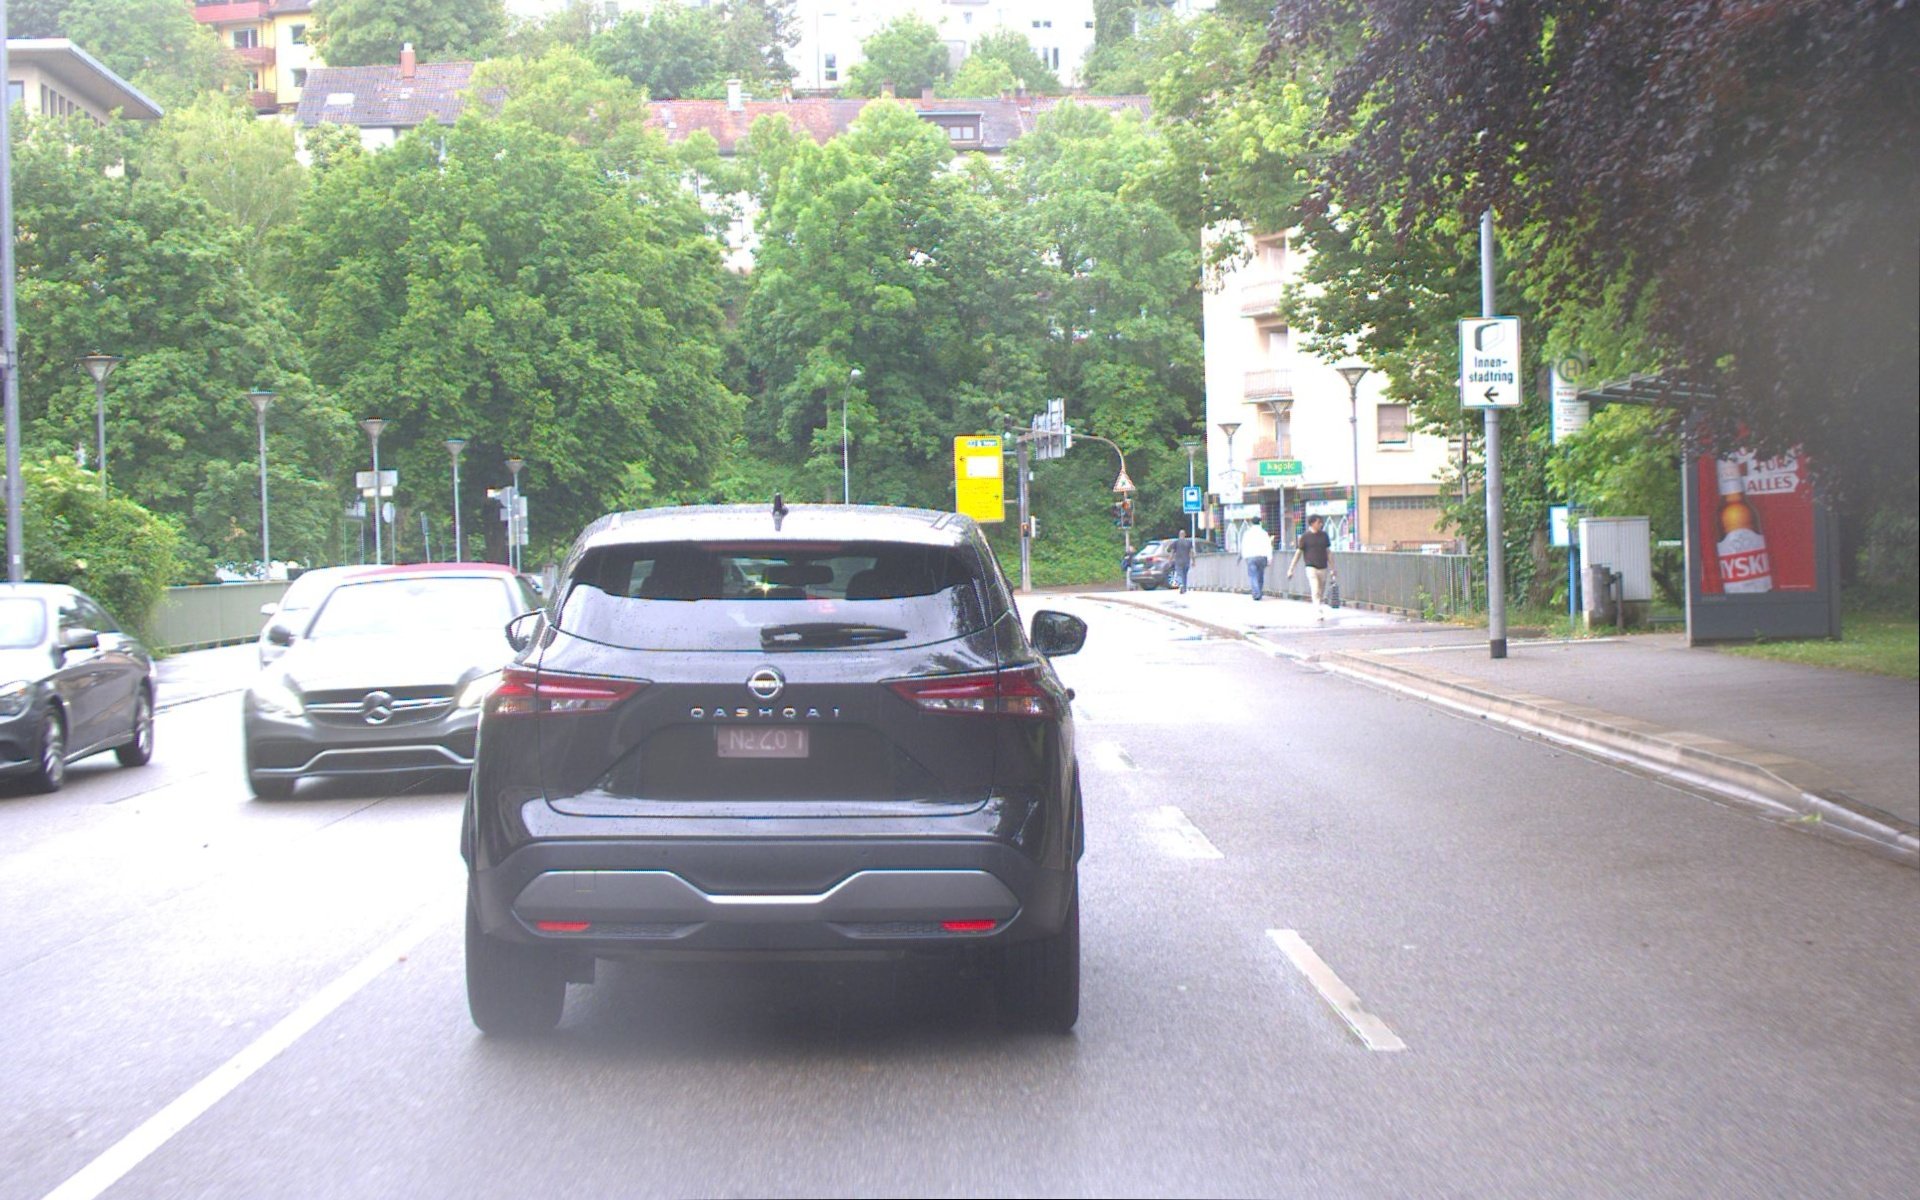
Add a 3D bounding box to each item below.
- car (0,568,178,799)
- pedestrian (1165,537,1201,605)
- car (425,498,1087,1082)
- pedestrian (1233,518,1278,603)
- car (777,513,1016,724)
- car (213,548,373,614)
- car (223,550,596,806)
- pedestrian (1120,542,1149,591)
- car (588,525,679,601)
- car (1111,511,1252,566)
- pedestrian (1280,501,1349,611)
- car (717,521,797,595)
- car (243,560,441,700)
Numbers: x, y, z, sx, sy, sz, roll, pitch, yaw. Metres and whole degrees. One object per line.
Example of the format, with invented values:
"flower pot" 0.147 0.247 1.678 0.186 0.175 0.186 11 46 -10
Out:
"car" -7.038 0.559 24.608 1.813 1.411 4.683 -3 2 -1
"pedestrian" 5.702 -0.747 87.889 0.761 1.671 0.781 -3 1 0
"car" -0.585 0.484 11.477 1.811 1.597 4.000 0 1 -1
"pedestrian" 6.180 -0.818 72.005 0.779 1.746 1.061 -2 0 -1
"car" -0.505 0.100 28.141 1.811 1.597 4.000 0 1 -1
"car" -20.532 -0.585 105.962 4.741 1.848 2.001 -1 2 -9
"car" -3.560 0.440 22.965 1.794 1.411 4.336 -3 2 -1
"pedestrian" 5.953 -1.146 117.119 0.862 1.613 0.839 -3 0 0
"car" -7.447 -0.870 78.635 1.813 1.573 4.232 -3 2 -3
"car" 7.587 -2.114 117.793 4.366 1.643 1.884 -3 0 -26
"pedestrian" 5.612 -0.692 54.519 0.847 1.670 1.168 -4 0 -1
"car" -6.775 -1.444 115.203 2.289 2.300 6.510 -3 2 -1
"car" -7.149 0.310 40.107 1.813 1.411 4.049 -3 2 -4
